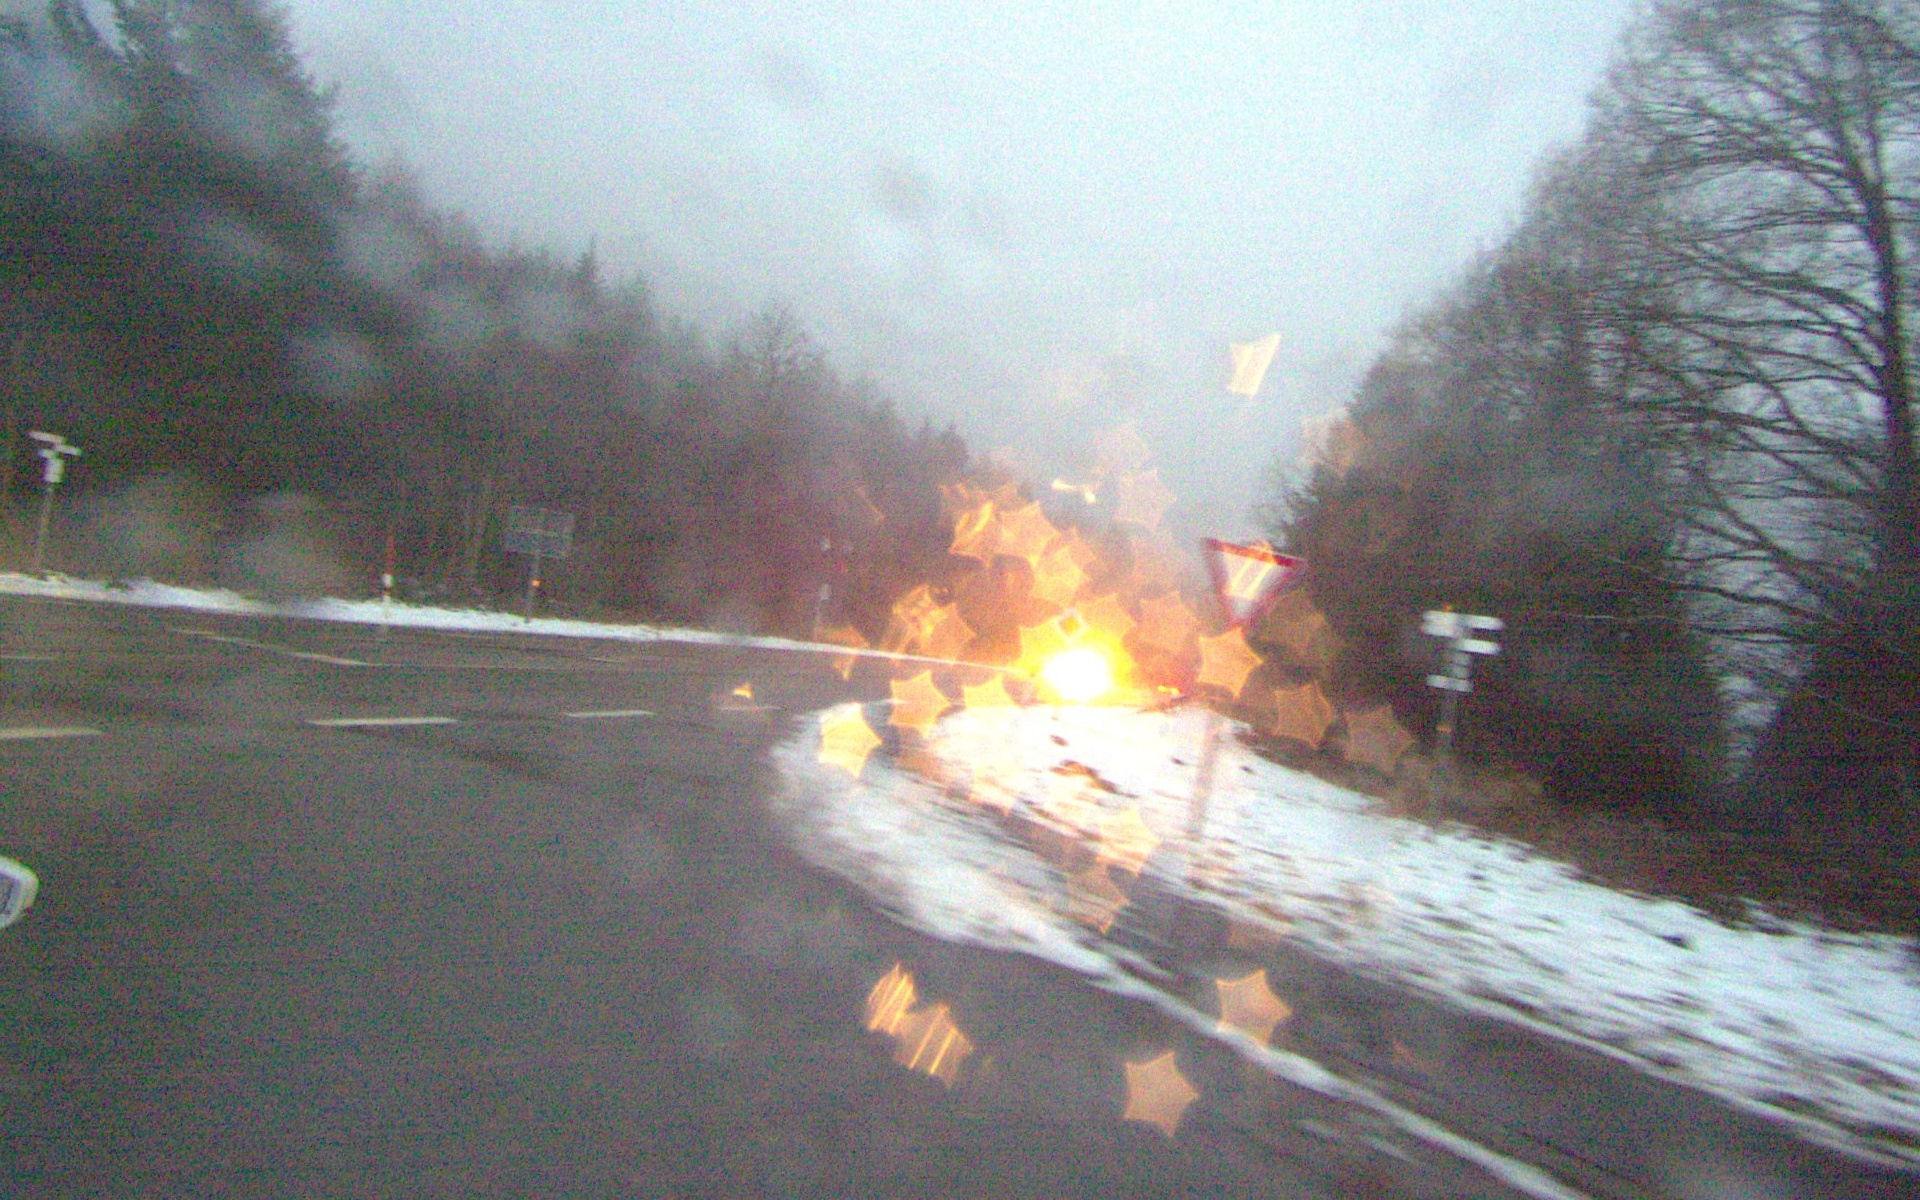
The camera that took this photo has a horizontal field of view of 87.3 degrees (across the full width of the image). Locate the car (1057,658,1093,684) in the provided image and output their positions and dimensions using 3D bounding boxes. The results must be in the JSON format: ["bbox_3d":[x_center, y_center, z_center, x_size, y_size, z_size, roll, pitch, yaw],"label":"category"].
[{"bbox_3d":[7.613,4.697,66.222,1.547,1.469,3.416,7,-2,19],"label":"car"}]
